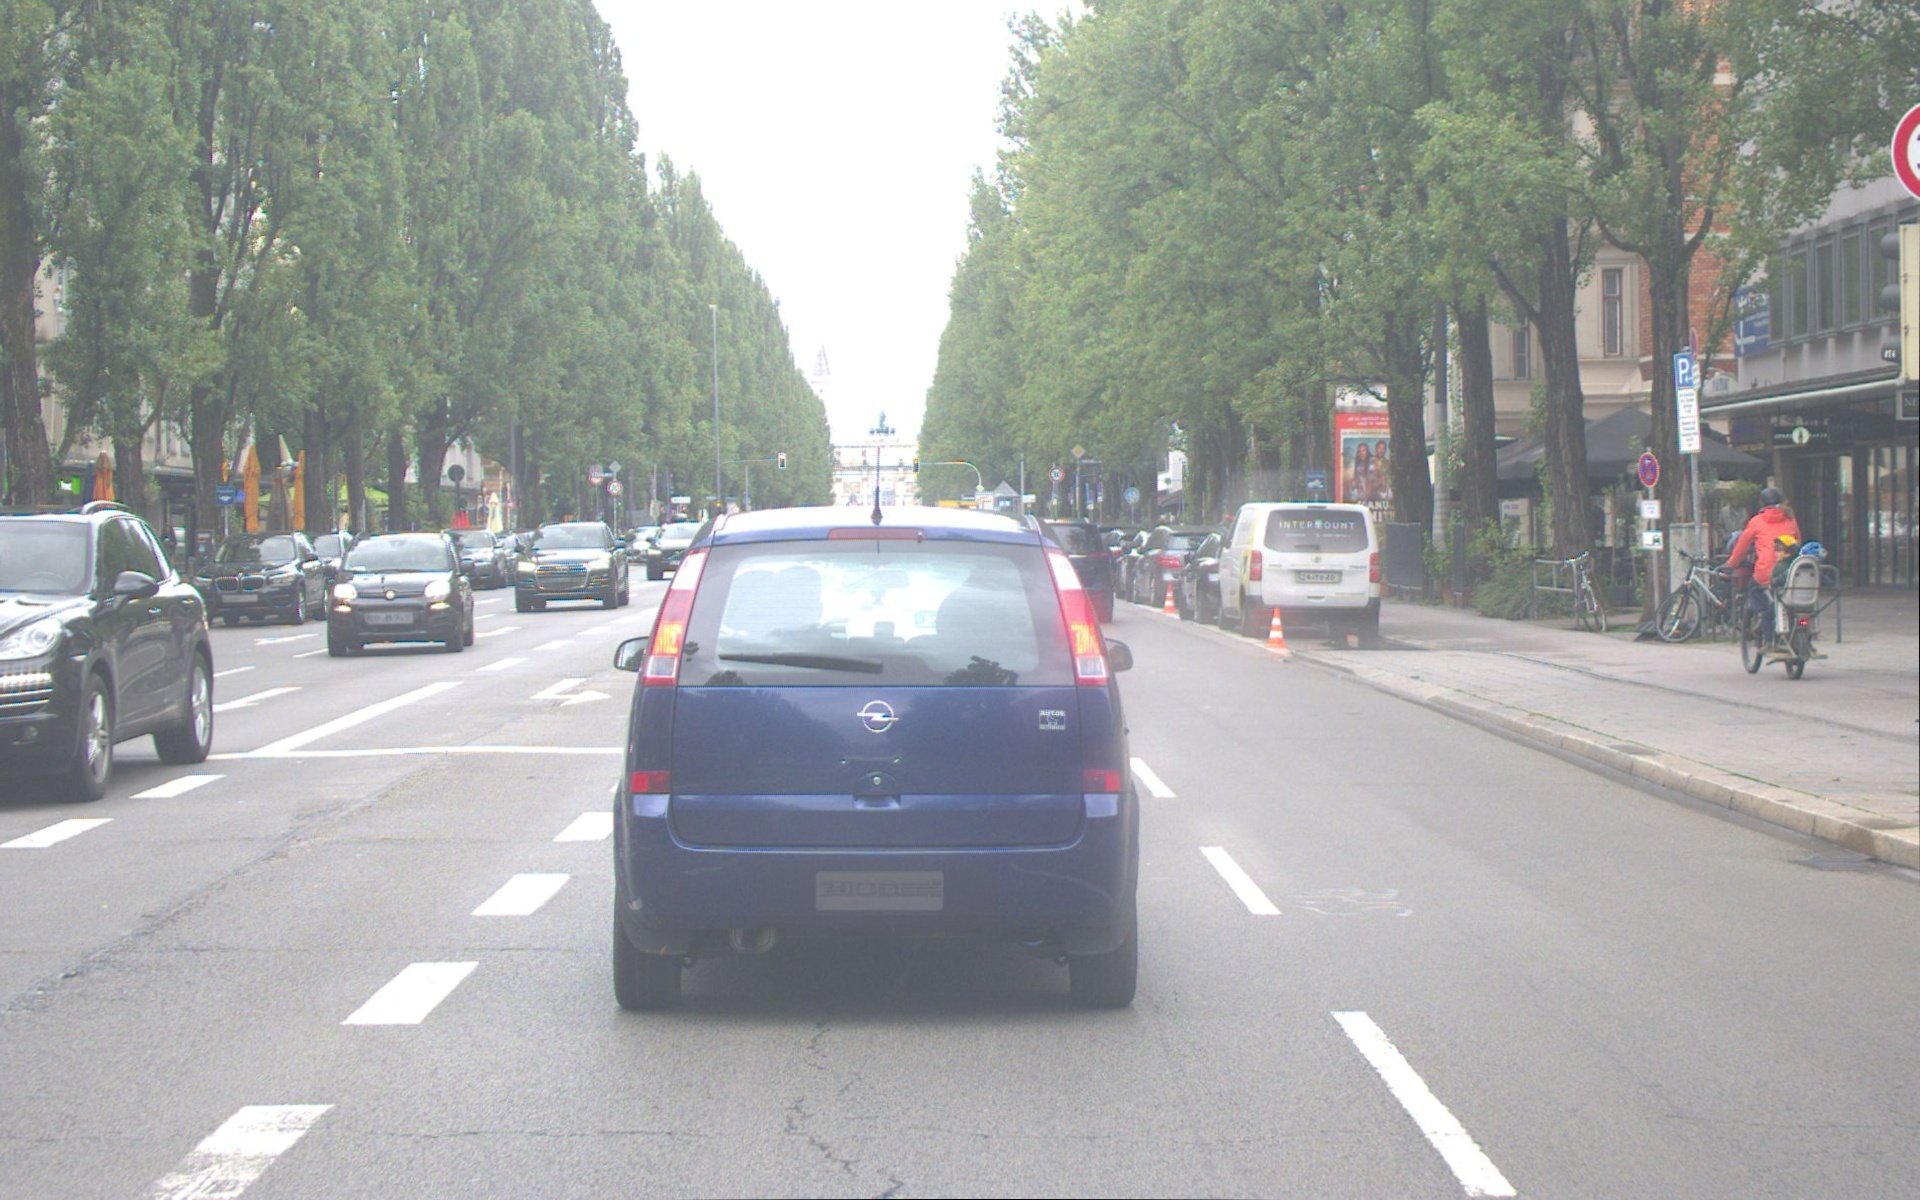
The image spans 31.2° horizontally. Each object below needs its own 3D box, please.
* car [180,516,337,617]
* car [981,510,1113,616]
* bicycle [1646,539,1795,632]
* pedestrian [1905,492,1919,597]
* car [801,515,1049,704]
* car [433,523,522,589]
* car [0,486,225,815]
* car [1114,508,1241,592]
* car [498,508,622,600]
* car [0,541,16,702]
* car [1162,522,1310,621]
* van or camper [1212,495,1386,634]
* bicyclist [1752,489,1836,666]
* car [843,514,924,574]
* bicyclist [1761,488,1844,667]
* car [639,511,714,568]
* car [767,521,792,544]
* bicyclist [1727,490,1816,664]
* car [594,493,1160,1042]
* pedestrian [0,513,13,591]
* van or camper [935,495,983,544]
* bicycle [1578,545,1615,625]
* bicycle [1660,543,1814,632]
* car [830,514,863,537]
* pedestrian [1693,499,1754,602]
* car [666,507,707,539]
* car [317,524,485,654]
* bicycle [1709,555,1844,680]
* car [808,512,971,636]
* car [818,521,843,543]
[{"bbox_3d":[-12.378,-0.621,60.926,1.820,1.612,4.716,0,3,0],"label":"car"},{"bbox_3d":[1.338,-0.619,54.527,1.706,1.568,4.001,-1,2,-4],"label":"car"},{"bbox_3d":[9.279,-0.179,41.938,1.737,1.106,0.448,-1,1,-11],"label":"bicycle"},{"bbox_3d":[15.244,-0.886,53.852,0.670,1.603,0.771,-3,2,6],"label":"pedestrian"},{"bbox_3d":[-0.356,0.028,29.809,1.993,1.492,4.001,-1,2,-2],"label":"car"},{"bbox_3d":[-13.106,-1.227,93.522,1.864,1.649,4.616,-3,1,-2],"label":"car"},{"bbox_3d":[-5.780,0.216,20.454,1.884,1.740,4.439,0,2,-1],"label":"car"},{"bbox_3d":[4.078,-0.965,65.046,1.816,1.501,4.233,-1,1,-4],"label":"car"},{"bbox_3d":[-7.549,-0.907,65.293,1.913,1.675,4.587,0,1,-1],"label":"car"},{"bbox_3d":[-9.408,0.256,29.426,1.641,1.434,3.998,-2,2,-2],"label":"car"},{"bbox_3d":[4.307,-0.480,54.243,1.719,1.437,4.354,1,1,-3],"label":"car"},{"bbox_3d":[4.759,-0.543,48.860,1.868,1.876,4.904,0,1,-1],"label":"van or camper"},{"bbox_3d":[7.543,-0.208,31.104,0.621,1.583,0.481,-1,1,-2],"label":"bicyclist"},{"bbox_3d":[-1.994,-1.463,88.566,1.993,1.492,4.001,0,1,-2],"label":"car"},{"bbox_3d":[7.555,-0.203,30.836,0.621,1.583,0.391,-1,1,-2],"label":"bicyclist"},{"bbox_3d":[-8.328,-1.807,101.276,1.935,1.618,4.337,0,1,-1],"label":"car"},{"bbox_3d":[-13.722,-5.132,261.707,1.835,1.733,3.779,-1,1,-2],"label":"car"},{"bbox_3d":[7.515,-0.223,31.856,0.621,1.583,0.753,-1,1,-2],"label":"bicyclist"},{"bbox_3d":[-0.321,0.446,12.260,1.681,1.635,4.001,0,2,-2],"label":"car"},{"bbox_3d":[-20.774,-1.034,73.603,0.734,1.667,0.952,0,1,-1],"label":"pedestrian"},{"bbox_3d":[-0.080,-4.322,185.279,2.476,2.572,5.845,-1,1,-1],"label":"van or camper"},{"bbox_3d":[8.664,-0.214,46.820,0.364,1.034,1.730,0,2,7],"label":"bicycle"},{"bbox_3d":[9.327,-0.160,41.289,1.757,1.040,0.484,-1,1,-12],"label":"bicycle"},{"bbox_3d":[-6.888,-4.515,207.911,1.961,1.394,3.779,-1,1,-2],"label":"car"},{"bbox_3d":[13.743,-0.904,61.900,0.826,1.834,1.099,-1,1,0],"label":"pedestrian"},{"bbox_3d":[-14.867,-4.192,187.139,1.993,1.656,4.001,-1,1,-2],"label":"car"},{"bbox_3d":[-6.922,-0.177,42.869,1.561,1.491,3.695,-2,2,-2],"label":"car"},{"bbox_3d":[7.524,0.140,31.784,0.626,1.083,2.264,-1,1,-2],"label":"bicycle"},{"bbox_3d":[-0.944,-0.371,44.352,1.993,1.492,4.001,-1,2,-2],"label":"car"},{"bbox_3d":[-9.759,-5.134,259.342,1.835,1.671,3.779,-1,1,-2],"label":"car"}]
